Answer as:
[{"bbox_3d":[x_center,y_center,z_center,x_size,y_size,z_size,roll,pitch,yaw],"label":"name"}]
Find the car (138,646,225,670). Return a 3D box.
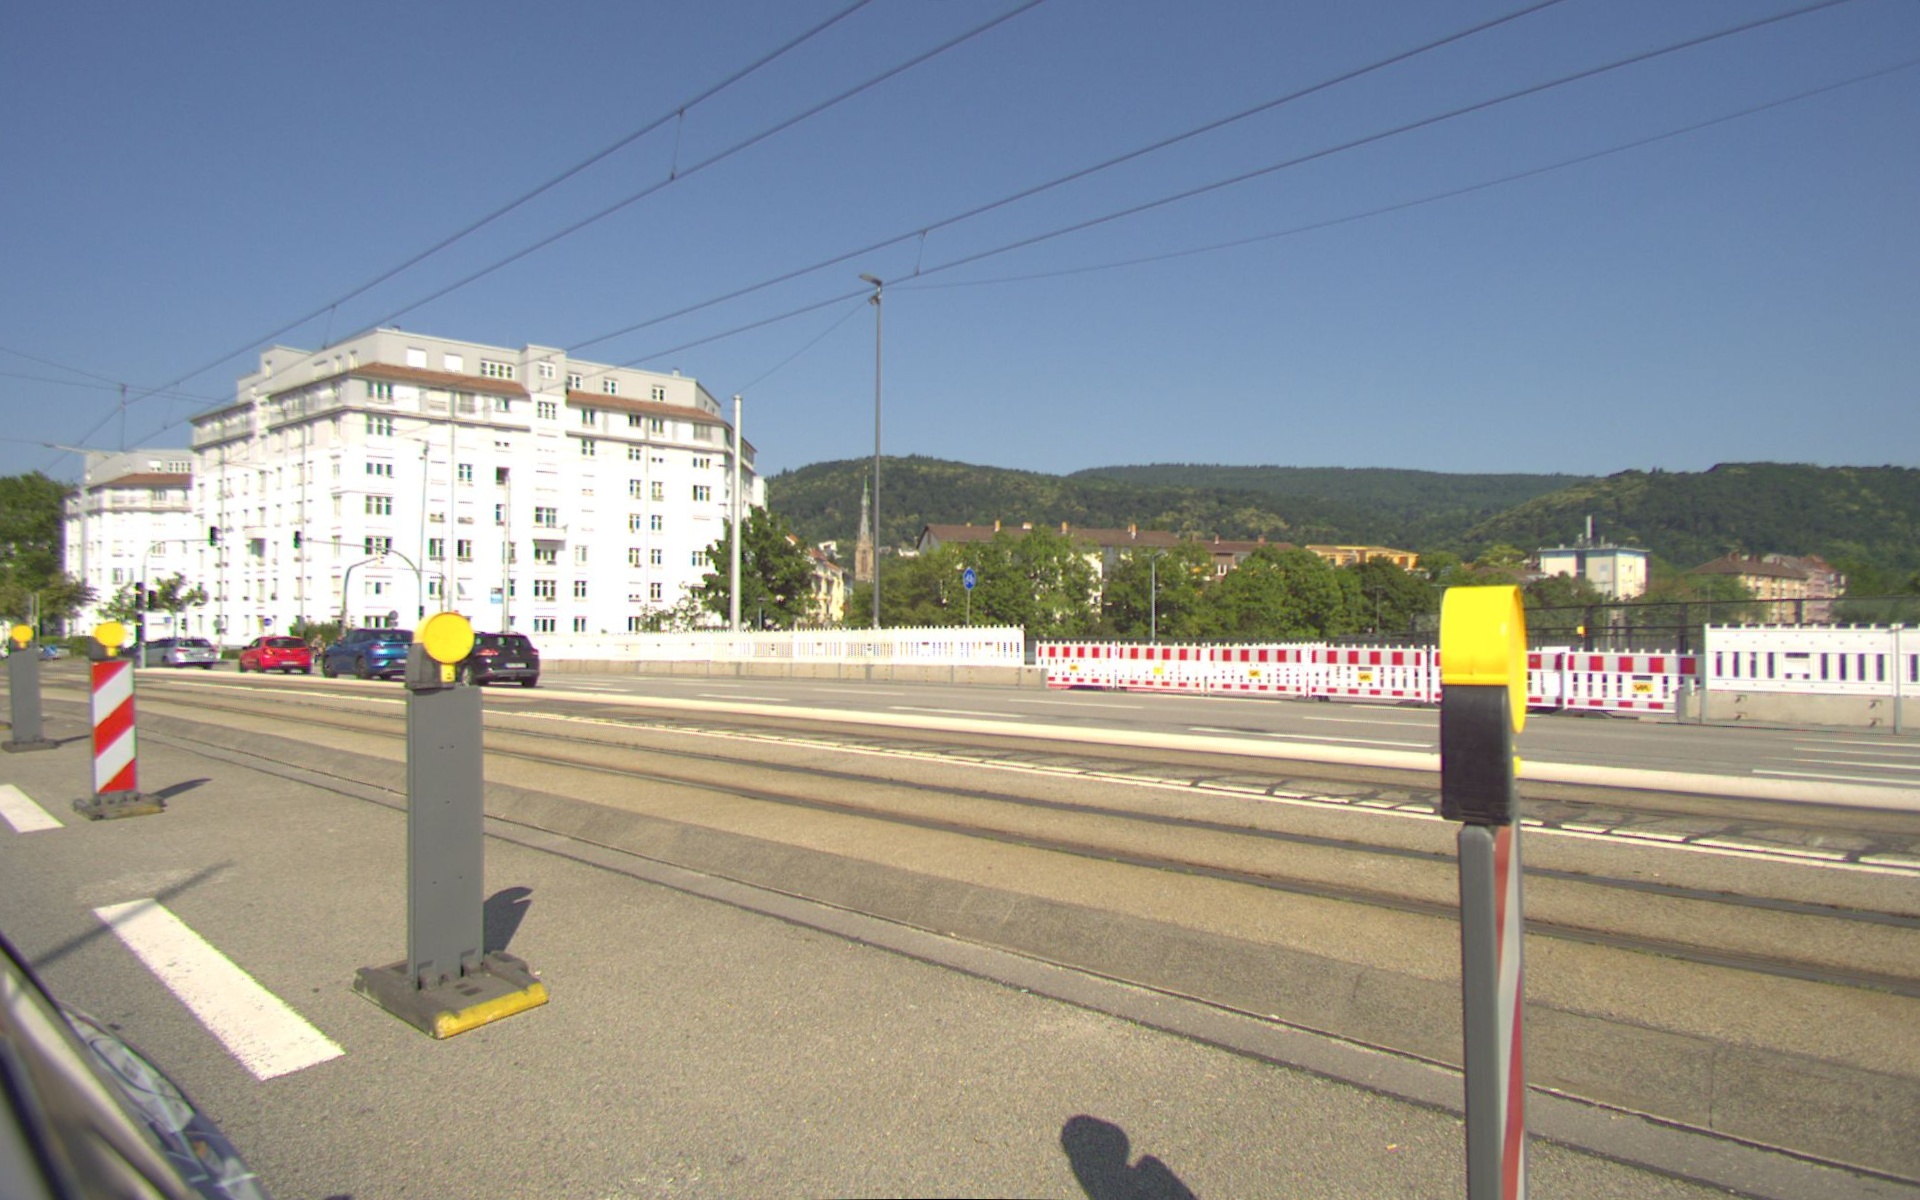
[{"bbox_3d":[-47.719,3.534,62.093,4.437,1.423,1.697,-1,-2,10],"label":"car"}]

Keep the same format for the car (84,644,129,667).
[{"bbox_3d":[-66.032,4.286,78.274,3.730,1.650,1.720,-2,-2,34],"label":"car"}]

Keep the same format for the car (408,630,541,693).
[{"bbox_3d":[-12.530,1.556,26.008,4.174,1.512,1.490,-2,-4,40],"label":"car"}]

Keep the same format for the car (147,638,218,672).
[{"bbox_3d":[-35.559,2.508,46.248,4.640,1.448,1.620,-2,-4,41],"label":"car"}]

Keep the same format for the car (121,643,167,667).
[{"bbox_3d":[-59.079,4.000,73.248,3.732,1.650,1.719,-2,-2,36],"label":"car"}]

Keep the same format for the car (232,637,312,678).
[{"bbox_3d":[-26.471,2.205,38.894,3.977,1.448,1.518,-2,-6,41],"label":"car"}]

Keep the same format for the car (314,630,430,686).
[{"bbox_3d":[-17.891,1.738,30.717,4.553,1.562,1.652,-2,-4,41],"label":"car"}]

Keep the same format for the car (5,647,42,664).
[{"bbox_3d":[-83.048,4.907,89.766,3.732,1.496,1.719,-2,-2,36],"label":"car"}]
